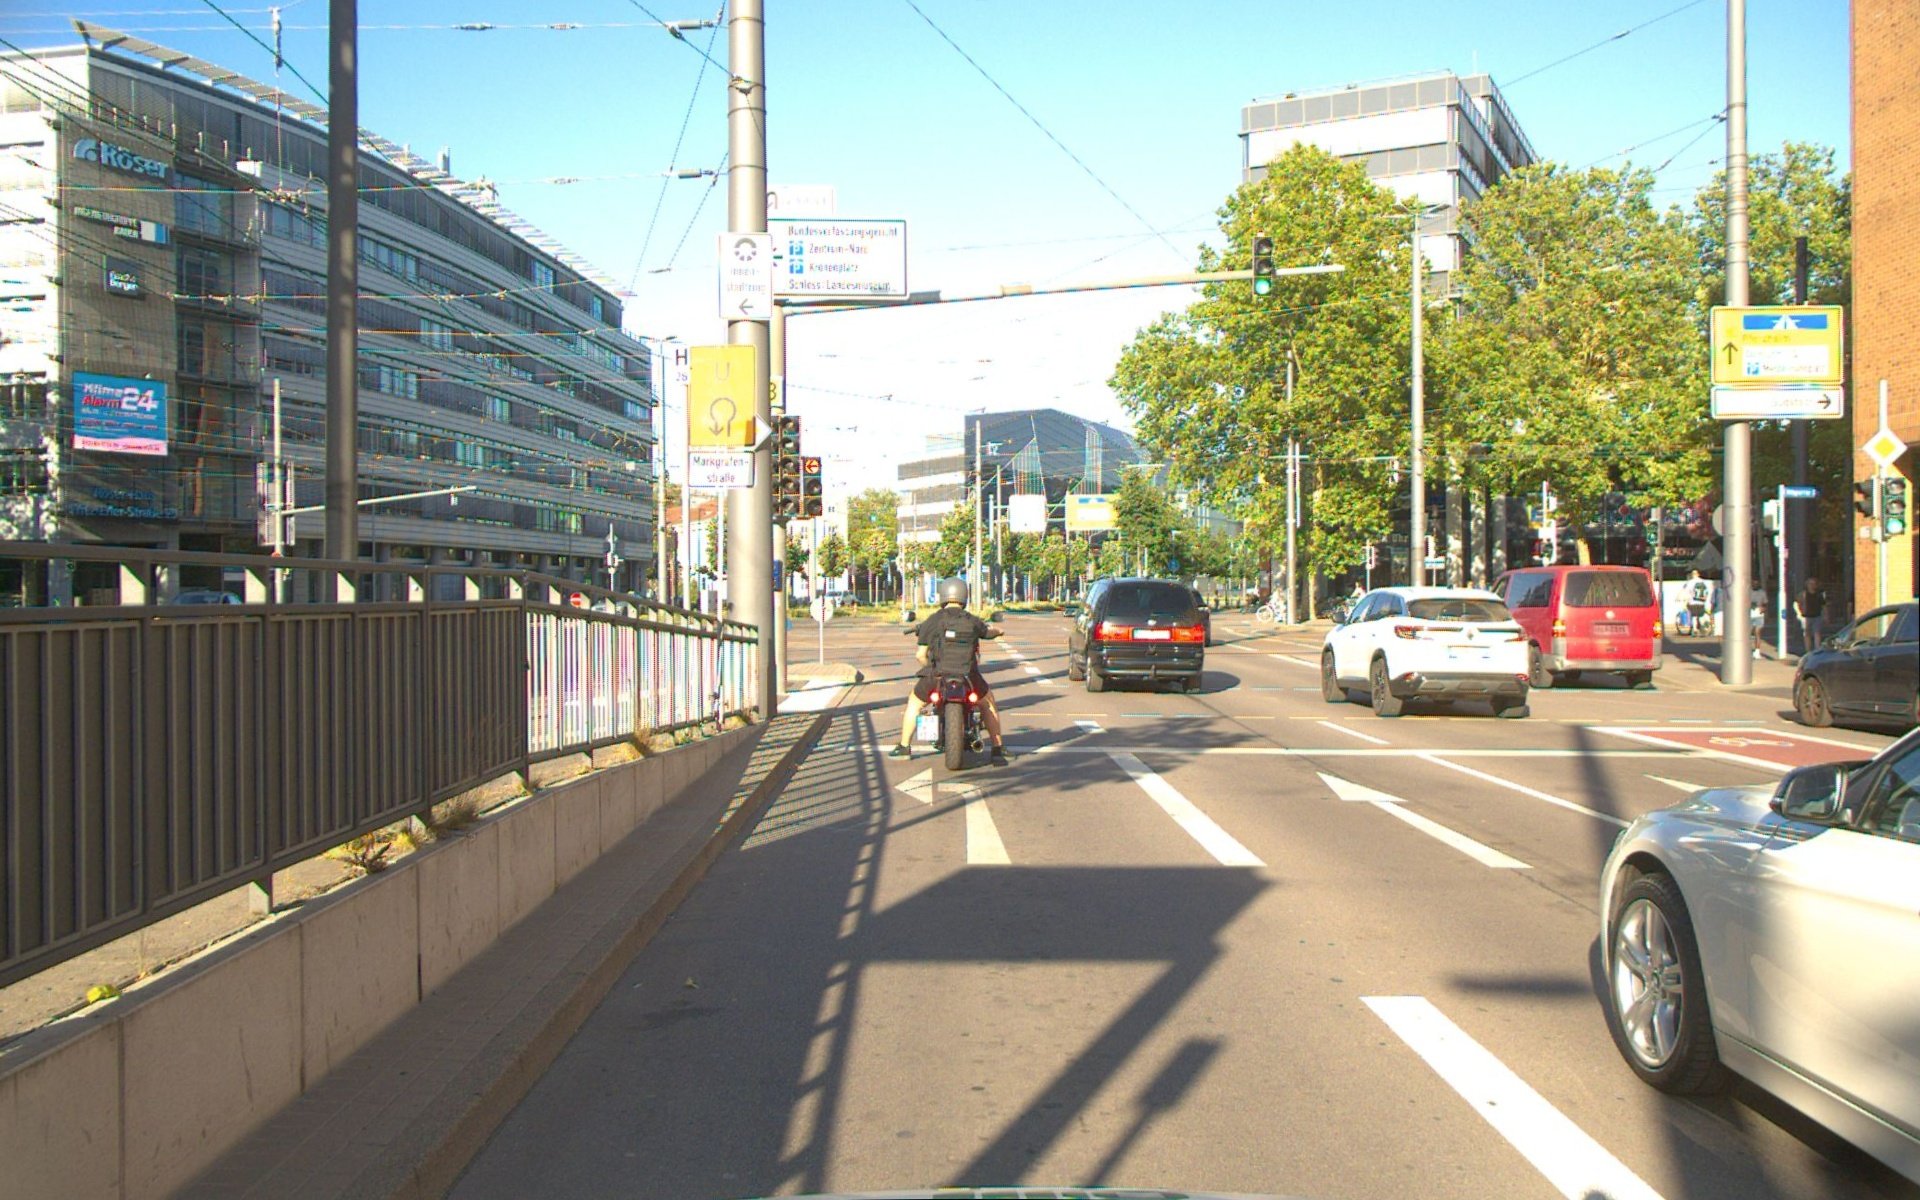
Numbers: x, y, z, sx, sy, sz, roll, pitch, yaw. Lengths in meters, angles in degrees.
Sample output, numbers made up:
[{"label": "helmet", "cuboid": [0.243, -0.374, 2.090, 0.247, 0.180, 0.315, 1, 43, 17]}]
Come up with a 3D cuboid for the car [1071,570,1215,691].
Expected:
[{"label": "car", "cuboid": [2.777, 0.434, 25.882, 1.761, 1.735, 4.062, 0, 0, 0]}]

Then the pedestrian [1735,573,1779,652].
[{"label": "pedestrian", "cuboid": [17.317, 0.272, 35.959, 0.670, 1.690, 0.519, 1, 0, -1]}]

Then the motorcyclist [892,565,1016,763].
[{"label": "motorcyclist", "cuboid": [-0.050, 0.531, 14.425, 0.998, 1.631, 1.148, 1, 0, -1]}]

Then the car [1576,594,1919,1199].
[{"label": "car", "cuboid": [2.971, 0.773, 3.479, 1.658, 1.523, 4.408, 2, 0, 0]}]

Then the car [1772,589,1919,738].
[{"label": "car", "cuboid": [10.902, 0.660, 18.466, 1.633, 1.557, 3.999, -1, 0, -1]}]

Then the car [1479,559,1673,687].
[{"label": "car", "cuboid": [10.301, 0.345, 27.984, 1.822, 1.995, 4.000, -1, 0, 1]}]

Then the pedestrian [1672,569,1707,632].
[{"label": "pedestrian", "cuboid": [19.915, 0.004, 45.137, 0.683, 1.690, 0.519, 1, 0, -1]}]

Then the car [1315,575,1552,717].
[{"label": "car", "cuboid": [6.094, 0.528, 21.822, 1.813, 1.668, 4.378, 0, 0, -1]}]

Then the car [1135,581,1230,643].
[{"label": "car", "cuboid": [5.733, 0.284, 43.026, 1.813, 1.524, 4.378, 0, 0, -1]}]

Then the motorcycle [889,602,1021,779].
[{"label": "motorcycle", "cuboid": [-0.048, 0.709, 14.366, 0.998, 1.335, 2.914, 1, 0, 0]}]

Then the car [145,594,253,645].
[{"label": "car", "cuboid": [-23.333, 0.557, 50.882, 1.956, 1.489, 3.993, 0, 0, -8]}]

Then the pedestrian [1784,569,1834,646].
[{"label": "pedestrian", "cuboid": [18.898, 0.166, 36.823, 0.809, 1.690, 0.519, 1, 0, -1]}]

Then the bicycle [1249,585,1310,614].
[{"label": "bicycle", "cuboid": [14.383, -0.026, 74.421, 2.635, 1.266, 0.528, 0, 0, 22]}]
